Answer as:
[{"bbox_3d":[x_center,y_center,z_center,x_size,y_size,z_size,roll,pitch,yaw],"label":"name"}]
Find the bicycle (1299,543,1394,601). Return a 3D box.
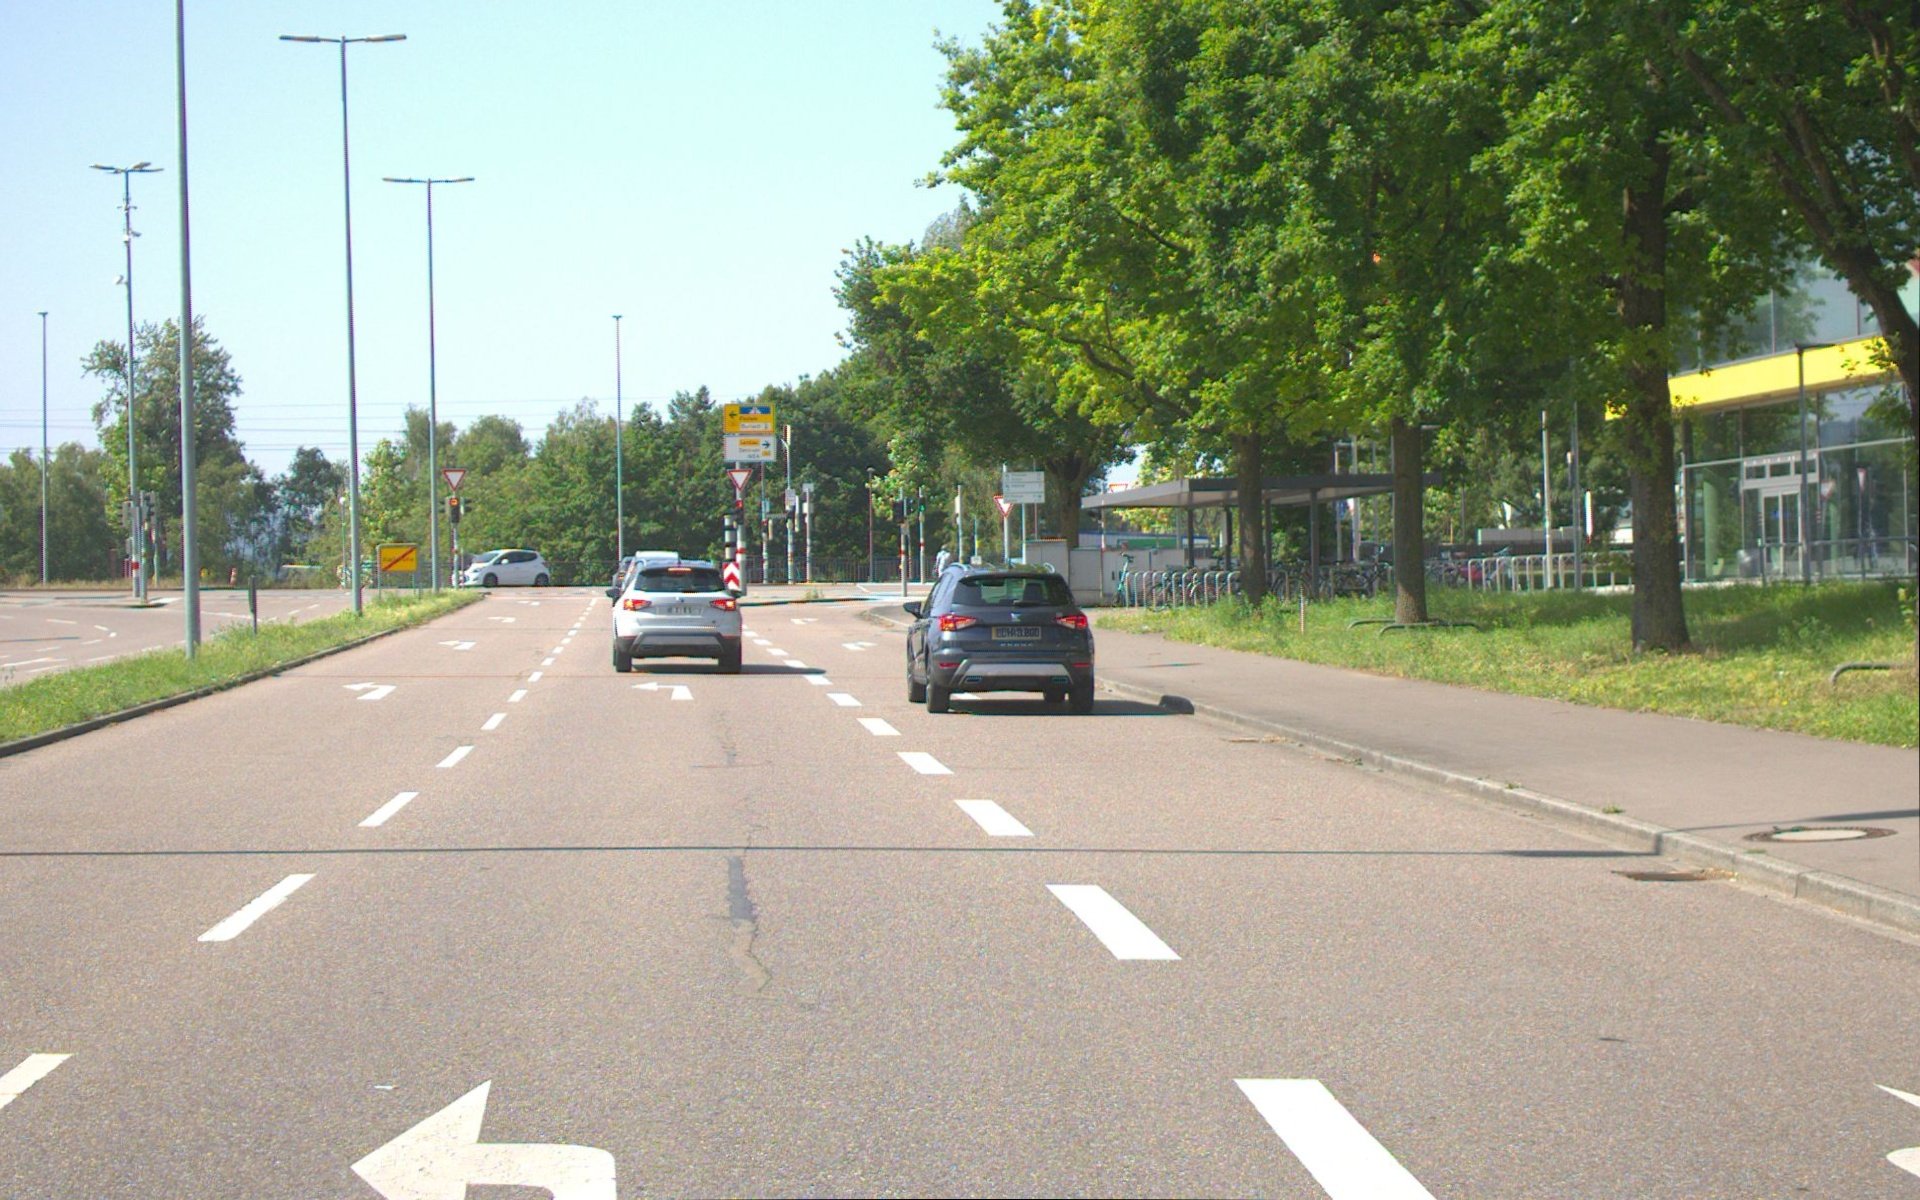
[{"bbox_3d":[7.575,-0.550,67.422,1.758,1.092,0.452,-2,1,-5],"label":"bicycle"}]

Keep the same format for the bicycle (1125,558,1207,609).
[{"bbox_3d":[4.599,-0.379,76.710,1.758,1.092,0.452,-1,1,-5],"label":"bicycle"}]

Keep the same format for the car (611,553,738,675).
[{"bbox_3d":[-4.007,0.162,47.863,1.630,1.493,3.871,0,3,-6],"label":"car"}]

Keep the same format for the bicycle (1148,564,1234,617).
[{"bbox_3d":[4.919,-0.205,73.187,1.758,1.092,0.452,-1,1,-5],"label":"bicycle"}]

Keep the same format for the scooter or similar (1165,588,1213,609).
[{"bbox_3d":[5.316,-0.028,79.679,0.917,0.450,0.960,-2,0,15],"label":"scooter or similar"}]

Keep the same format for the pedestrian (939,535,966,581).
[{"bbox_3d":[-0.257,-1.396,114.290,0.773,1.505,1.007,-1,2,6],"label":"pedestrian"}]

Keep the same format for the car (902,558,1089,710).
[{"bbox_3d":[0.327,0.322,36.125,1.669,1.518,3.377,0,1,-4],"label":"car"}]

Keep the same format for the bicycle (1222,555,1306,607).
[{"bbox_3d":[6.686,-0.415,75.629,1.758,1.092,0.452,-1,1,-5],"label":"bicycle"}]

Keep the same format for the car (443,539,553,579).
[{"bbox_3d":[-18.157,-1.614,135.269,1.798,1.541,4.076,0,0,42],"label":"car"}]

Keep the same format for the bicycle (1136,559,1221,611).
[{"bbox_3d":[4.744,-0.331,74.702,1.758,1.092,0.452,-1,1,-5],"label":"bicycle"}]

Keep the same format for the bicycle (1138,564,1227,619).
[{"bbox_3d":[4.583,-0.172,70.877,1.758,1.092,0.452,-1,1,-5],"label":"bicycle"}]

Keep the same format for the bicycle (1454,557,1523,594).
[{"bbox_3d":[12.514,-0.581,81.438,1.561,0.840,0.434,-1,1,-3],"label":"bicycle"}]

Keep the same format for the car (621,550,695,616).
[{"bbox_3d":[-7.685,-0.456,87.358,1.706,1.568,4.175,-2,1,-7],"label":"car"}]

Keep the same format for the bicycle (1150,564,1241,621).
[{"bbox_3d":[4.751,-0.153,69.387,1.758,1.092,0.452,-1,1,-5],"label":"bicycle"}]

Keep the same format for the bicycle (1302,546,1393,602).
[{"bbox_3d":[7.820,-0.528,69.418,1.758,1.092,0.452,-1,1,-5],"label":"bicycle"}]

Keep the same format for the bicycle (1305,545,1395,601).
[{"bbox_3d":[8.012,-0.558,70.609,1.758,1.092,0.452,-1,1,-5],"label":"bicycle"}]
